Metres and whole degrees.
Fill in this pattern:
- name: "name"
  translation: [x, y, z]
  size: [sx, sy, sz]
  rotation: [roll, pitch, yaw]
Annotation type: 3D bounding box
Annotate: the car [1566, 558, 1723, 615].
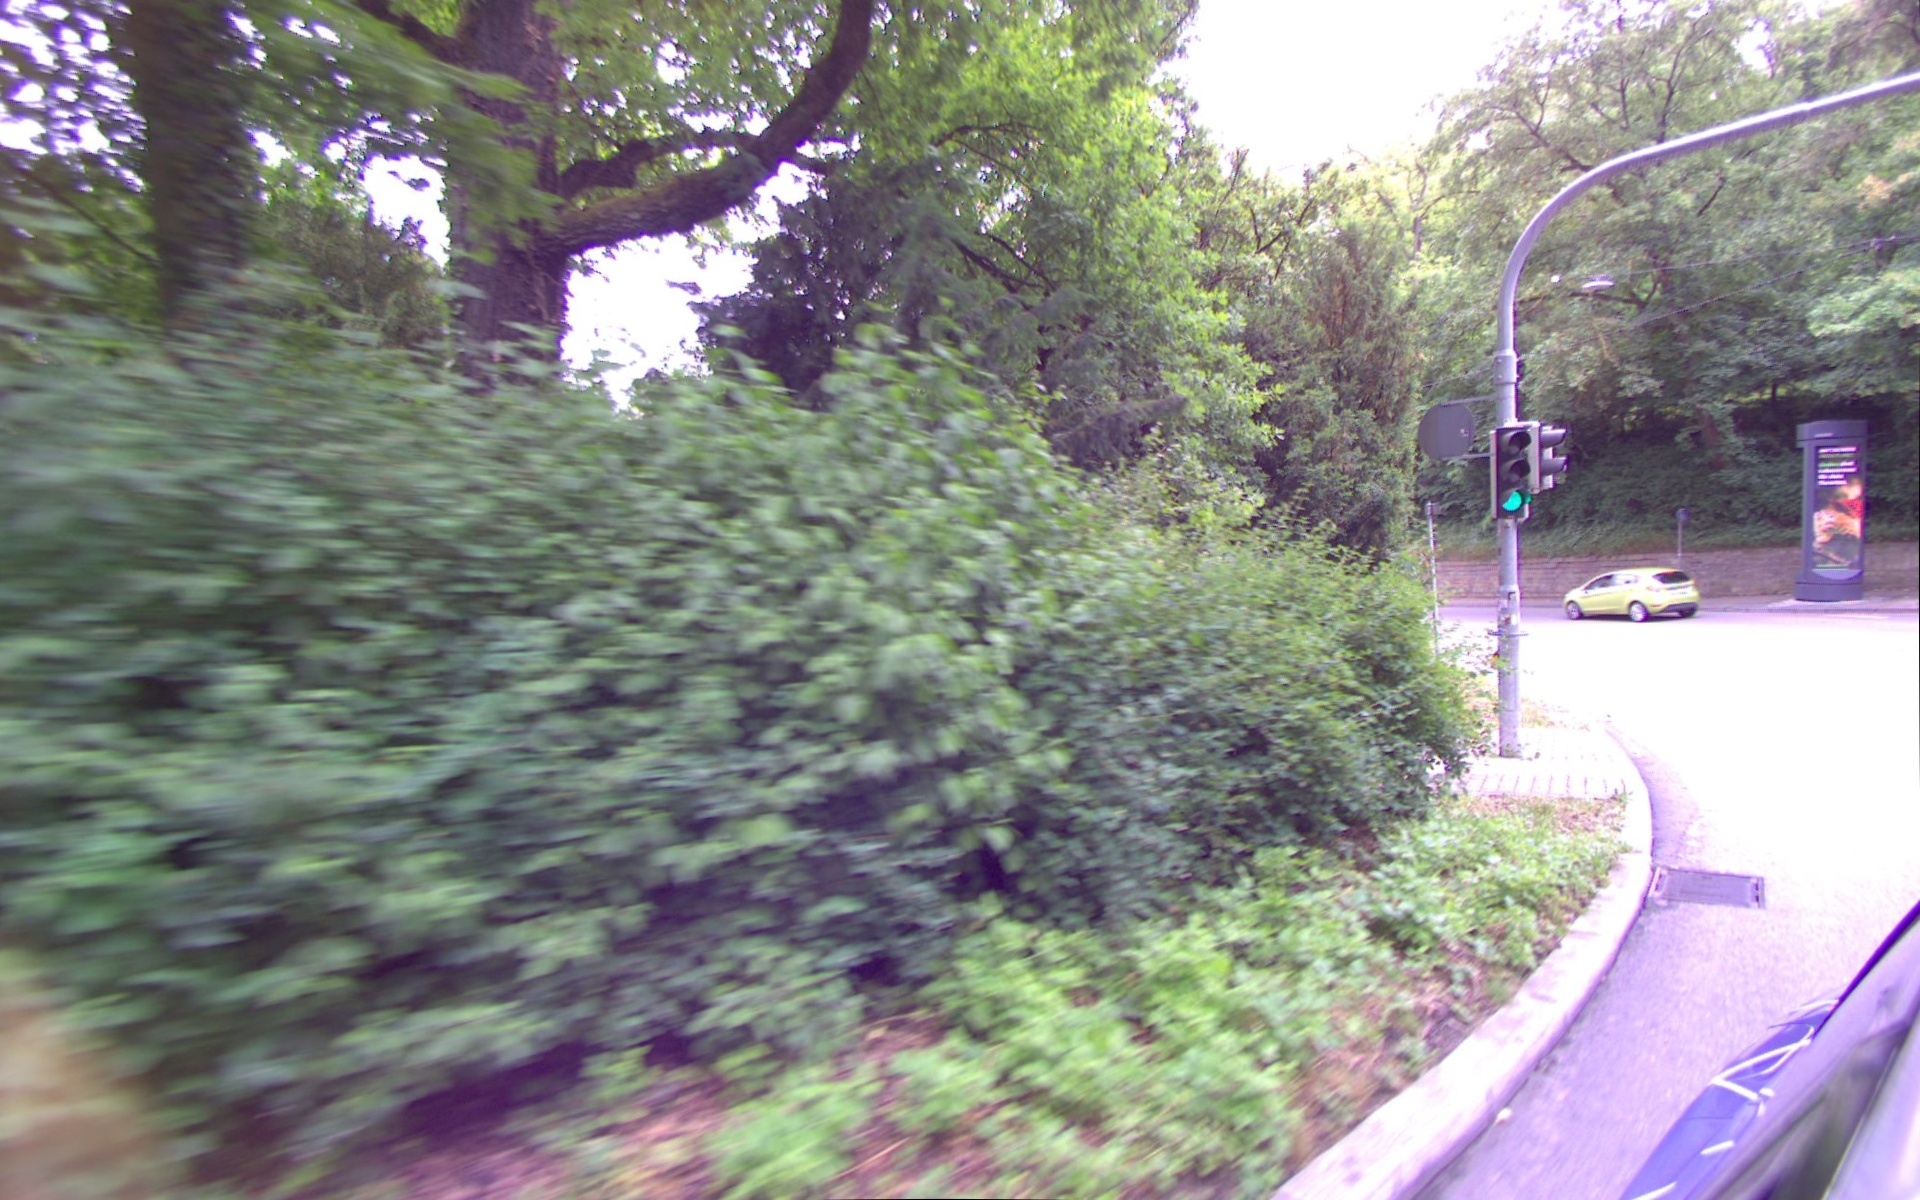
- name: "car"
  translation: [19.736, -0.417, 29.389]
  size: [1.528, 1.440, 3.905]
  rotation: [-5, 2, -7]
